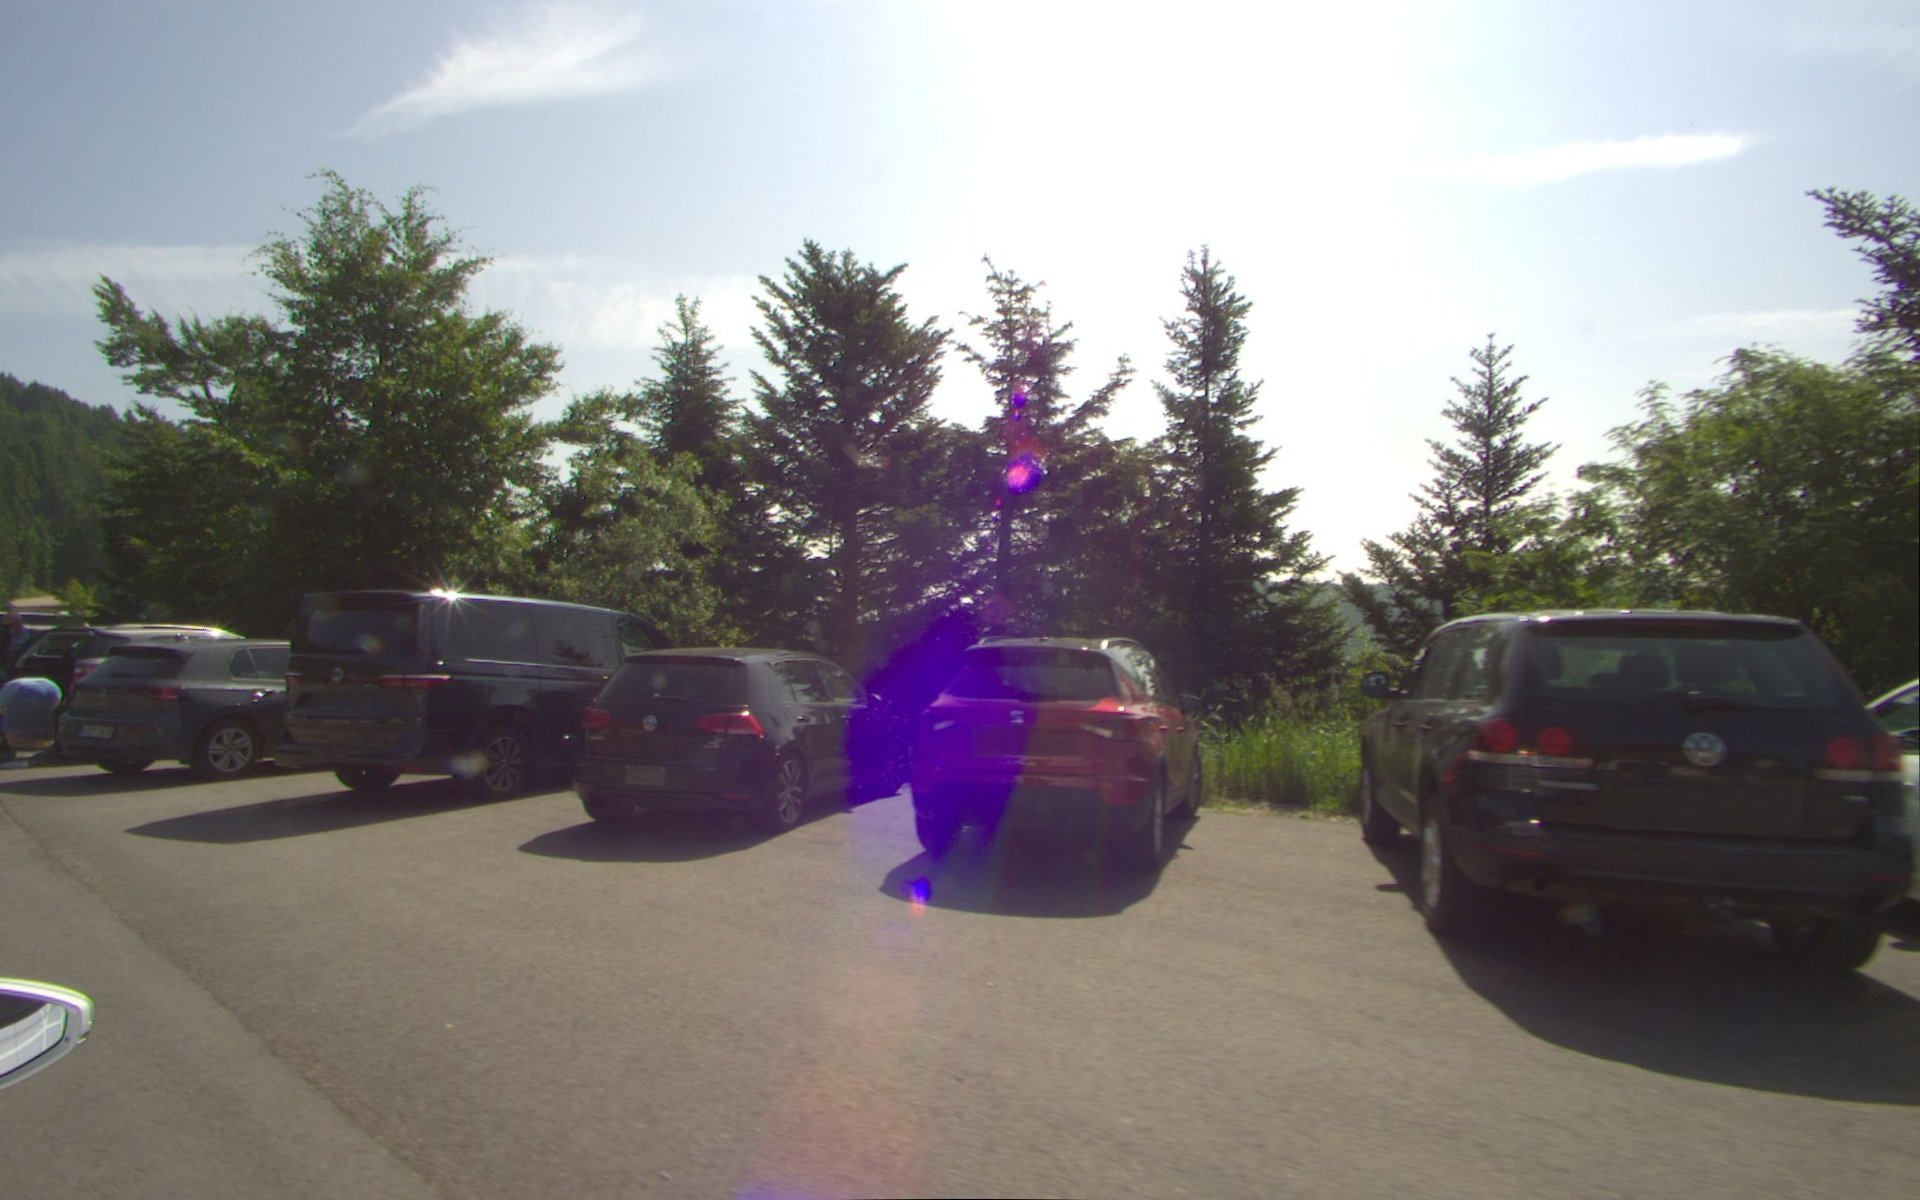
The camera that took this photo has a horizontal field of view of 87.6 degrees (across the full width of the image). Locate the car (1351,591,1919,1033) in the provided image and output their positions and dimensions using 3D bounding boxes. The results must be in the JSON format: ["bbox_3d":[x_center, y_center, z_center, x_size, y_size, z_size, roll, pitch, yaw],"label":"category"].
[{"bbox_3d":[3.725,0.964,6.198,1.954,1.715,4.272,1,-3,15],"label":"car"}]

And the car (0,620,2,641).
[{"bbox_3d":[-42.912,1.543,41.825,1.846,1.740,3.972,1,-4,41],"label":"car"}]

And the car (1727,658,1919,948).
[{"bbox_3d":[5.844,1.061,5.118,1.736,1.494,3.998,0,-3,17],"label":"car"}]

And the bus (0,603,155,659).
[{"bbox_3d":[-63.542,2.102,68.557,12.728,3.626,2.963,2,0,-32],"label":"bus"}]

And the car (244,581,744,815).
[{"bbox_3d":[-4.535,0.935,10.736,1.933,1.903,4.765,1,-3,22],"label":"car"}]

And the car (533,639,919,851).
[{"bbox_3d":[-1.799,1.139,9.140,1.712,1.432,3.999,1,-3,15],"label":"car"}]

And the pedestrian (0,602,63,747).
[{"bbox_3d":[-11.938,0.935,12.685,0.623,1.782,0.579,0,-3,27],"label":"pedestrian"}]

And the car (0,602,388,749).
[{"bbox_3d":[-10.341,1.076,13.791,1.963,1.681,4.003,1,-5,14],"label":"car"}]

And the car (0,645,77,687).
[{"bbox_3d":[-31.777,2.080,32.412,1.556,1.314,4.460,1,-5,25],"label":"car"}]

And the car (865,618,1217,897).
[{"bbox_3d":[0.932,1.058,8.120,1.831,1.609,3.996,1,-3,20],"label":"car"}]

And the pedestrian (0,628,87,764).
[{"bbox_3d":[-10.228,1.038,11.130,0.768,1.422,0.663,-1,2,-42],"label":"pedestrian"}]

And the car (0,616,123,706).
[{"bbox_3d":[-22.383,1.483,24.723,4.766,1.996,1.897,-1,-6,42],"label":"car"}]

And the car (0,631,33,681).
[{"bbox_3d":[-35.384,1.855,34.956,1.972,1.719,3.983,1,-5,34],"label":"car"}]

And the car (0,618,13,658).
[{"bbox_3d":[-47.684,1.697,47.385,1.919,1.836,3.969,1,-4,44],"label":"car"}]

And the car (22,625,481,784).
[{"bbox_3d":[-7.869,1.112,11.629,1.808,1.460,3.995,1,-3,20],"label":"car"}]
